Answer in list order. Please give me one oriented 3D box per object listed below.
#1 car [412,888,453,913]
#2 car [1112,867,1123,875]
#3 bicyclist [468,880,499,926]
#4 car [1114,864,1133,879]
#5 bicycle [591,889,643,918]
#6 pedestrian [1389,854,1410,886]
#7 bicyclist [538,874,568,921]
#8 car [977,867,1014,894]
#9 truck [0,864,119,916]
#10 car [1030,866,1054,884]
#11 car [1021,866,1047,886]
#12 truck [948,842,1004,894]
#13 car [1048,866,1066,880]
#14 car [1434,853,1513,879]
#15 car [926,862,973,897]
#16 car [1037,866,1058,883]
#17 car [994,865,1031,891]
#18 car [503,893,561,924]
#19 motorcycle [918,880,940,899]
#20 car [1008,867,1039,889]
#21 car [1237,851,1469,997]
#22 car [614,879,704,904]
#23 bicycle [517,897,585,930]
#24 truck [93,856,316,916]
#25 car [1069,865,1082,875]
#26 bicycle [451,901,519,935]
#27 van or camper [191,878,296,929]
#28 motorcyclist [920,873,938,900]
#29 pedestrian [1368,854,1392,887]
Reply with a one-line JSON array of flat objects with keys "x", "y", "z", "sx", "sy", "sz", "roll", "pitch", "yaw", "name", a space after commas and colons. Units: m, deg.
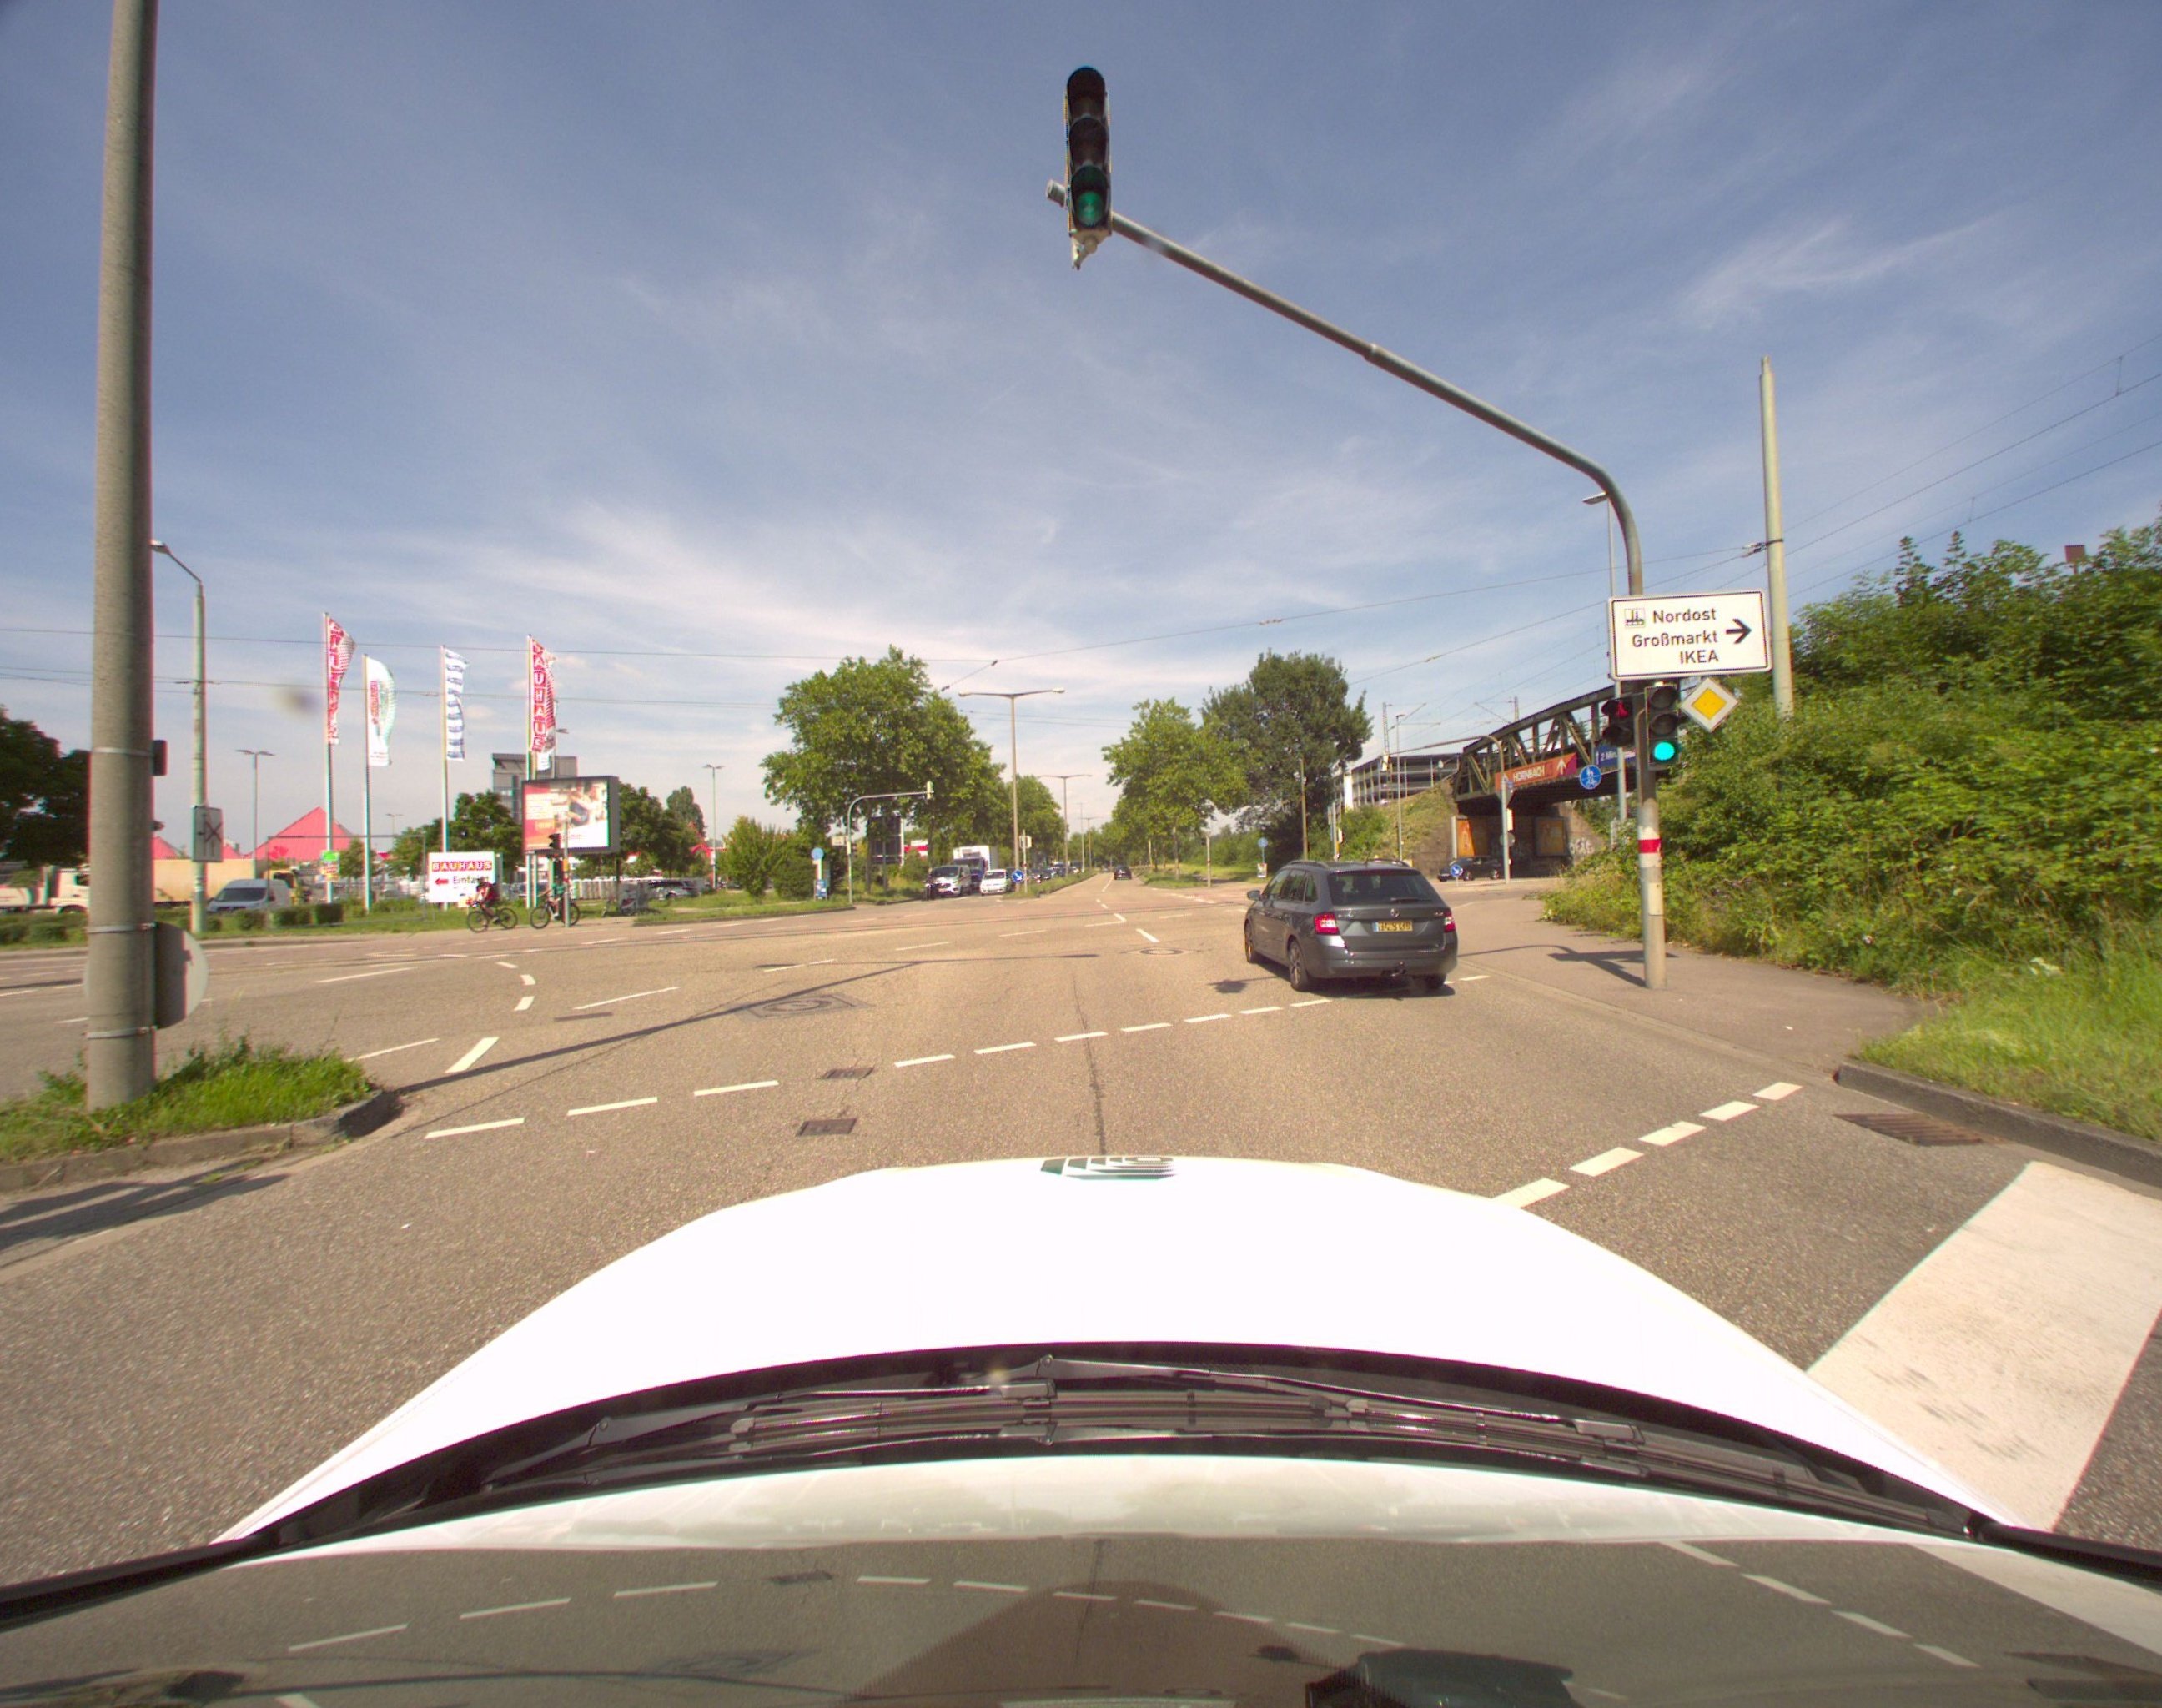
[{"x": -44.985, "y": 3.167, "z": 56.546, "sx": 1.829, "sy": 1.572, "sz": 4.235, "roll": -1, "pitch": -1, "yaw": -33, "name": "car"}, {"x": 7.179, "y": 3.352, "z": 158.956, "sx": 1.902, "sy": 1.463, "sz": 4.580, "roll": -2, "pitch": 0, "yaw": -1, "name": "car"}, {"x": -18.890, "y": 1.546, "z": 25.755, "sx": 0.522, "sy": 1.414, "sz": 0.613, "roll": -2, "pitch": -1, "yaw": 25, "name": "bicyclist"}, {"x": 4.423, "y": 1.845, "z": 85.336, "sx": 1.901, "sy": 1.463, "sz": 4.623, "roll": -2, "pitch": -1, "yaw": 2, "name": "car"}, {"x": -18.318, "y": 1.930, "z": 32.190, "sx": 0.589, "sy": 1.037, "sz": 1.903, "roll": -2, "pitch": -1, "yaw": 17, "name": "bicycle"}, {"x": 15.913, "y": 0.805, "z": 40.712, "sx": 0.726, "sy": 1.579, "sz": 0.778, "roll": -2, "pitch": -1, "yaw": 2, "name": "pedestrian"}, {"x": -17.478, "y": 1.433, "z": 26.969, "sx": 0.523, "sy": 1.491, "sz": 0.612, "roll": -2, "pitch": -1, "yaw": 18, "name": "bicyclist"}, {"x": -5.117, "y": 1.564, "z": 49.150, "sx": 1.586, "sy": 1.477, "sz": 3.732, "roll": -3, "pitch": -1, "yaw": 3, "name": "car"}, {"x": -64.316, "y": 2.193, "z": 47.813, "sx": 9.653, "sy": 2.892, "sz": 2.895, "roll": -1, "pitch": -1, "yaw": -34, "name": "truck"}, {"x": -3.600, "y": 1.932, "z": 75.891, "sx": 1.682, "sy": 1.473, "sz": 4.221, "roll": -4, "pitch": -1, "yaw": 3, "name": "car"}, {"x": -3.906, "y": 1.815, "z": 68.526, "sx": 1.682, "sy": 1.586, "sz": 4.243, "roll": -3, "pitch": -1, "yaw": 3, "name": "car"}, {"x": -7.686, "y": 0.992, "z": 60.553, "sx": 2.793, "sy": 3.471, "sz": 6.695, "roll": -4, "pitch": 0, "yaw": 2, "name": "truck"}, {"x": -2.767, "y": 2.206, "z": 94.214, "sx": 1.778, "sy": 1.489, "sz": 4.212, "roll": -3, "pitch": -1, "yaw": 1, "name": "car"}, {"x": 23.210, "y": 0.707, "z": 48.126, "sx": 4.515, "sy": 1.409, "sz": 1.980, "roll": -1, "pitch": -1, "yaw": -31, "name": "car"}, {"x": -8.020, "y": 1.499, "z": 50.127, "sx": 1.970, "sy": 1.999, "sz": 5.031, "roll": -2, "pitch": -1, "yaw": 0, "name": "car"}, {"x": -3.305, "y": 2.033, "z": 81.523, "sx": 1.682, "sy": 1.472, "sz": 3.817, "roll": -3, "pitch": -1, "yaw": 3, "name": "car"}, {"x": -4.575, "y": 1.616, "z": 55.087, "sx": 1.813, "sy": 1.647, "sz": 4.696, "roll": -3, "pitch": -2, "yaw": 3, "name": "car"}, {"x": -31.000, "y": 3.018, "z": 45.930, "sx": 2.212, "sy": 1.572, "sz": 4.523, "roll": -1, "pitch": -1, "yaw": -40, "name": "car"}, {"x": -8.362, "y": 1.950, "z": 44.953, "sx": 0.685, "sy": 0.991, "sz": 2.218, "roll": -2, "pitch": -1, "yaw": 3, "name": "motorcycle"}, {"x": -4.332, "y": 1.775, "z": 61.985, "sx": 1.789, "sy": 1.468, "sz": 4.526, "roll": -3, "pitch": -1, "yaw": 3, "name": "car"}, {"x": 3.104, "y": 0.720, "z": 10.174, "sx": 1.668, "sy": 1.453, "sz": 4.037, "roll": 0, "pitch": -1, "yaw": 2, "name": "car"}, {"x": -26.986, "y": 2.382, "z": 52.221, "sx": 4.554, "sy": 1.414, "sz": 2.197, "roll": -2, "pitch": -1, "yaw": -5, "name": "car"}, {"x": -17.482, "y": 1.942, "z": 26.914, "sx": 0.412, "sy": 0.937, "sz": 2.007, "roll": -2, "pitch": -1, "yaw": 19, "name": "bicycle"}, {"x": -54.294, "y": 1.902, "z": 50.915, "sx": 8.962, "sy": 3.311, "sz": 3.126, "roll": -1, "pitch": -1, "yaw": -35, "name": "truck"}, {"x": -0.824, "y": 2.545, "z": 128.303, "sx": 1.682, "sy": 1.510, "sz": 3.817, "roll": -3, "pitch": -1, "yaw": 3, "name": "car"}, {"x": -18.823, "y": 2.007, "z": 25.760, "sx": 0.430, "sy": 0.937, "sz": 1.761, "roll": -2, "pitch": -1, "yaw": 25, "name": "bicycle"}, {"x": -40.454, "y": 2.327, "z": 39.502, "sx": 2.203, "sy": 2.210, "sz": 5.463, "roll": -1, "pitch": -1, "yaw": -31, "name": "van or camper"}, {"x": -8.394, "y": 1.795, "z": 45.051, "sx": 0.740, "sy": 1.470, "sz": 0.988, "roll": -2, "pitch": -1, "yaw": 2, "name": "motorcyclist"}, {"x": 14.954, "y": 0.818, "z": 40.774, "sx": 0.864, "sy": 1.612, "sz": 0.778, "roll": -2, "pitch": -1, "yaw": 2, "name": "pedestrian"}]
